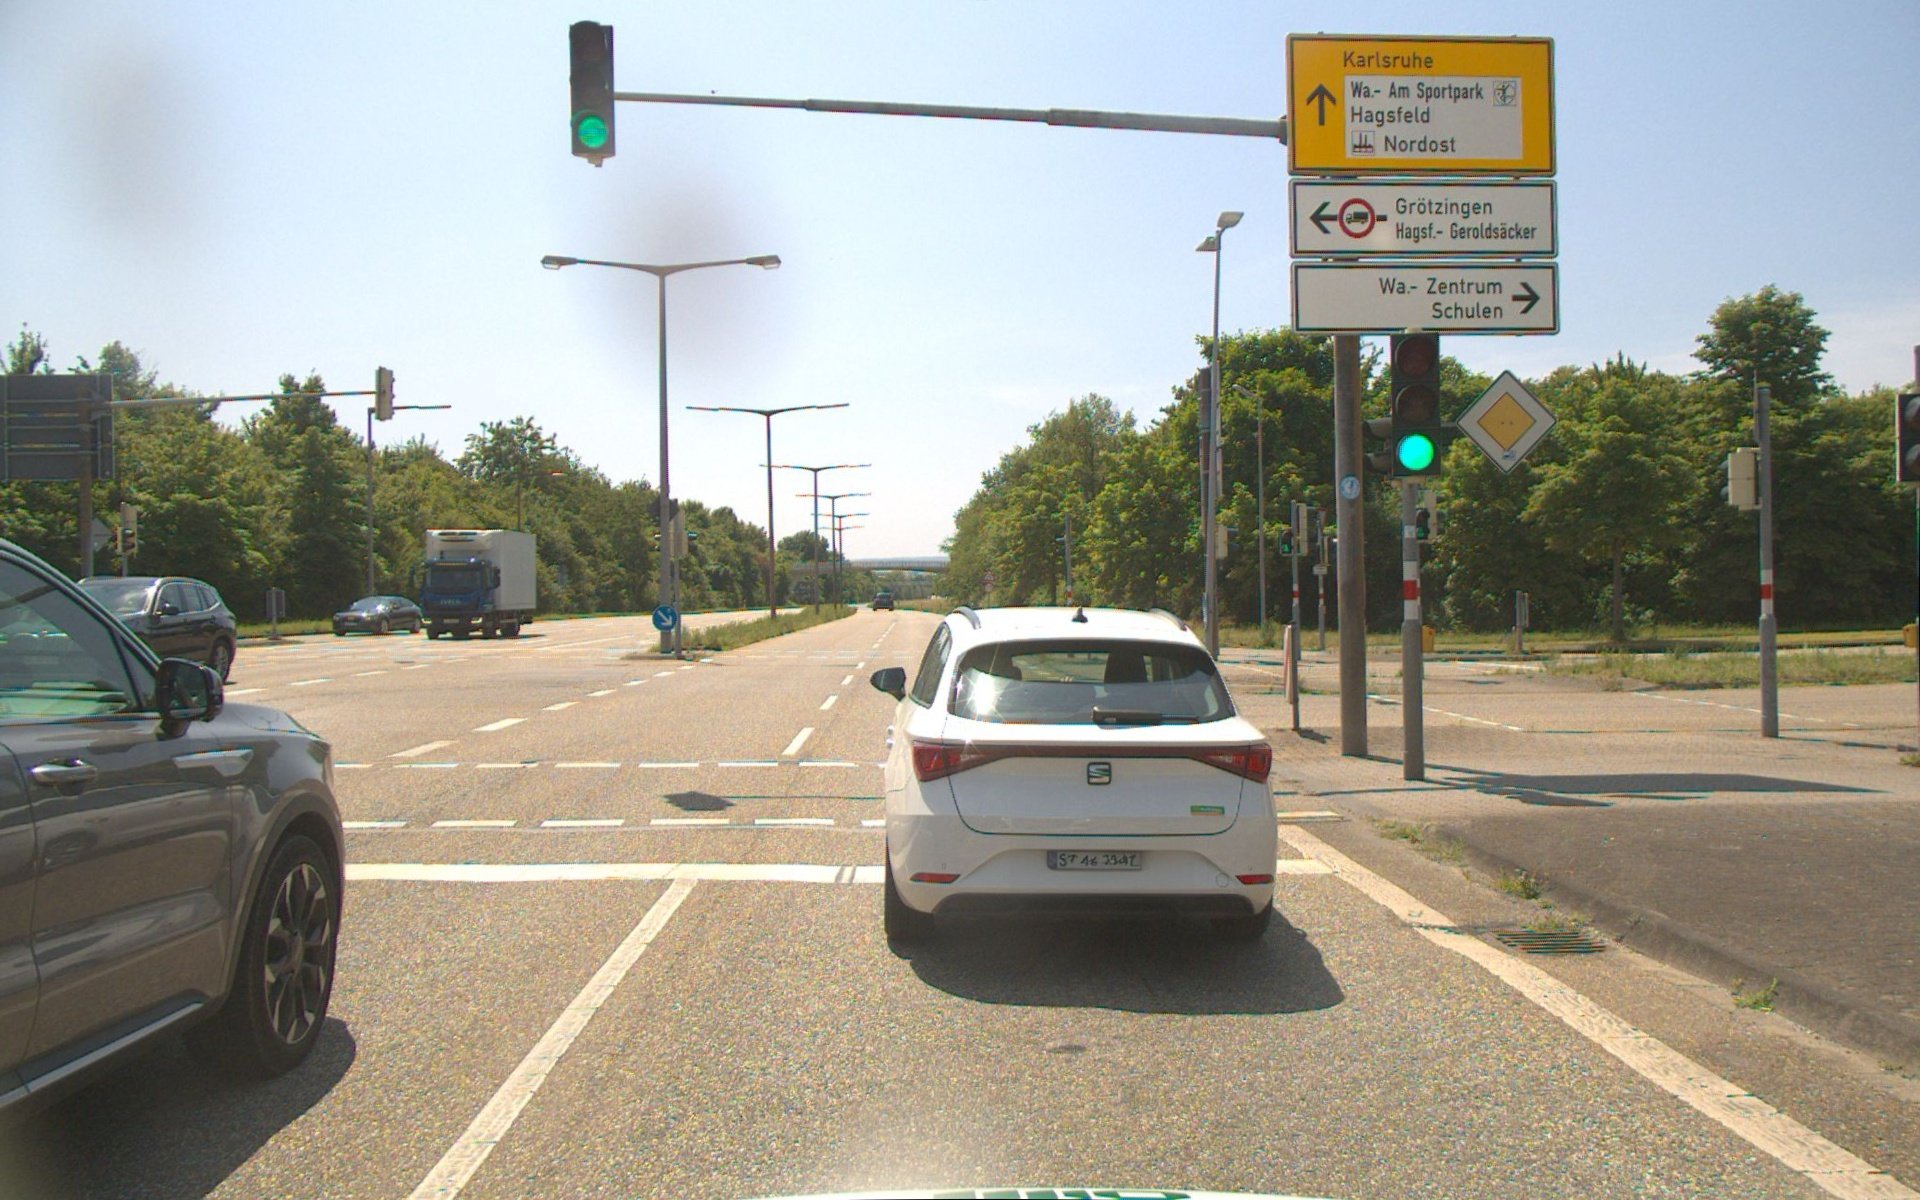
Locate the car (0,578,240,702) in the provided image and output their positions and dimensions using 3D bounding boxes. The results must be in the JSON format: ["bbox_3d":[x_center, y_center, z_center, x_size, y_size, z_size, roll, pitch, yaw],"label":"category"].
[{"bbox_3d":[-12.664,0.544,25.062,1.672,1.692,4.222,-1,0,-1],"label":"car"}]

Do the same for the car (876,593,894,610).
[{"bbox_3d":[-7.752,0.153,171.321,1.817,1.738,3.998,-2,0,-2],"label":"car"}]

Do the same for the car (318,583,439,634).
[{"bbox_3d":[-21.039,0.294,60.035,1.783,1.762,4.930,-1,0,13],"label":"car"}]

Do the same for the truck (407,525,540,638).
[{"bbox_3d":[-16.657,-0.619,57.133,2.633,3.633,7.265,0,0,-2],"label":"truck"}]

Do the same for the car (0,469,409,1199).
[{"bbox_3d":[-2.835,0.586,3.613,1.767,1.691,4.643,0,0,-1],"label":"car"}]

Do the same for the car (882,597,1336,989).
[{"bbox_3d":[0.538,0.749,8.101,1.699,1.453,3.693,1,-1,-1],"label":"car"}]
